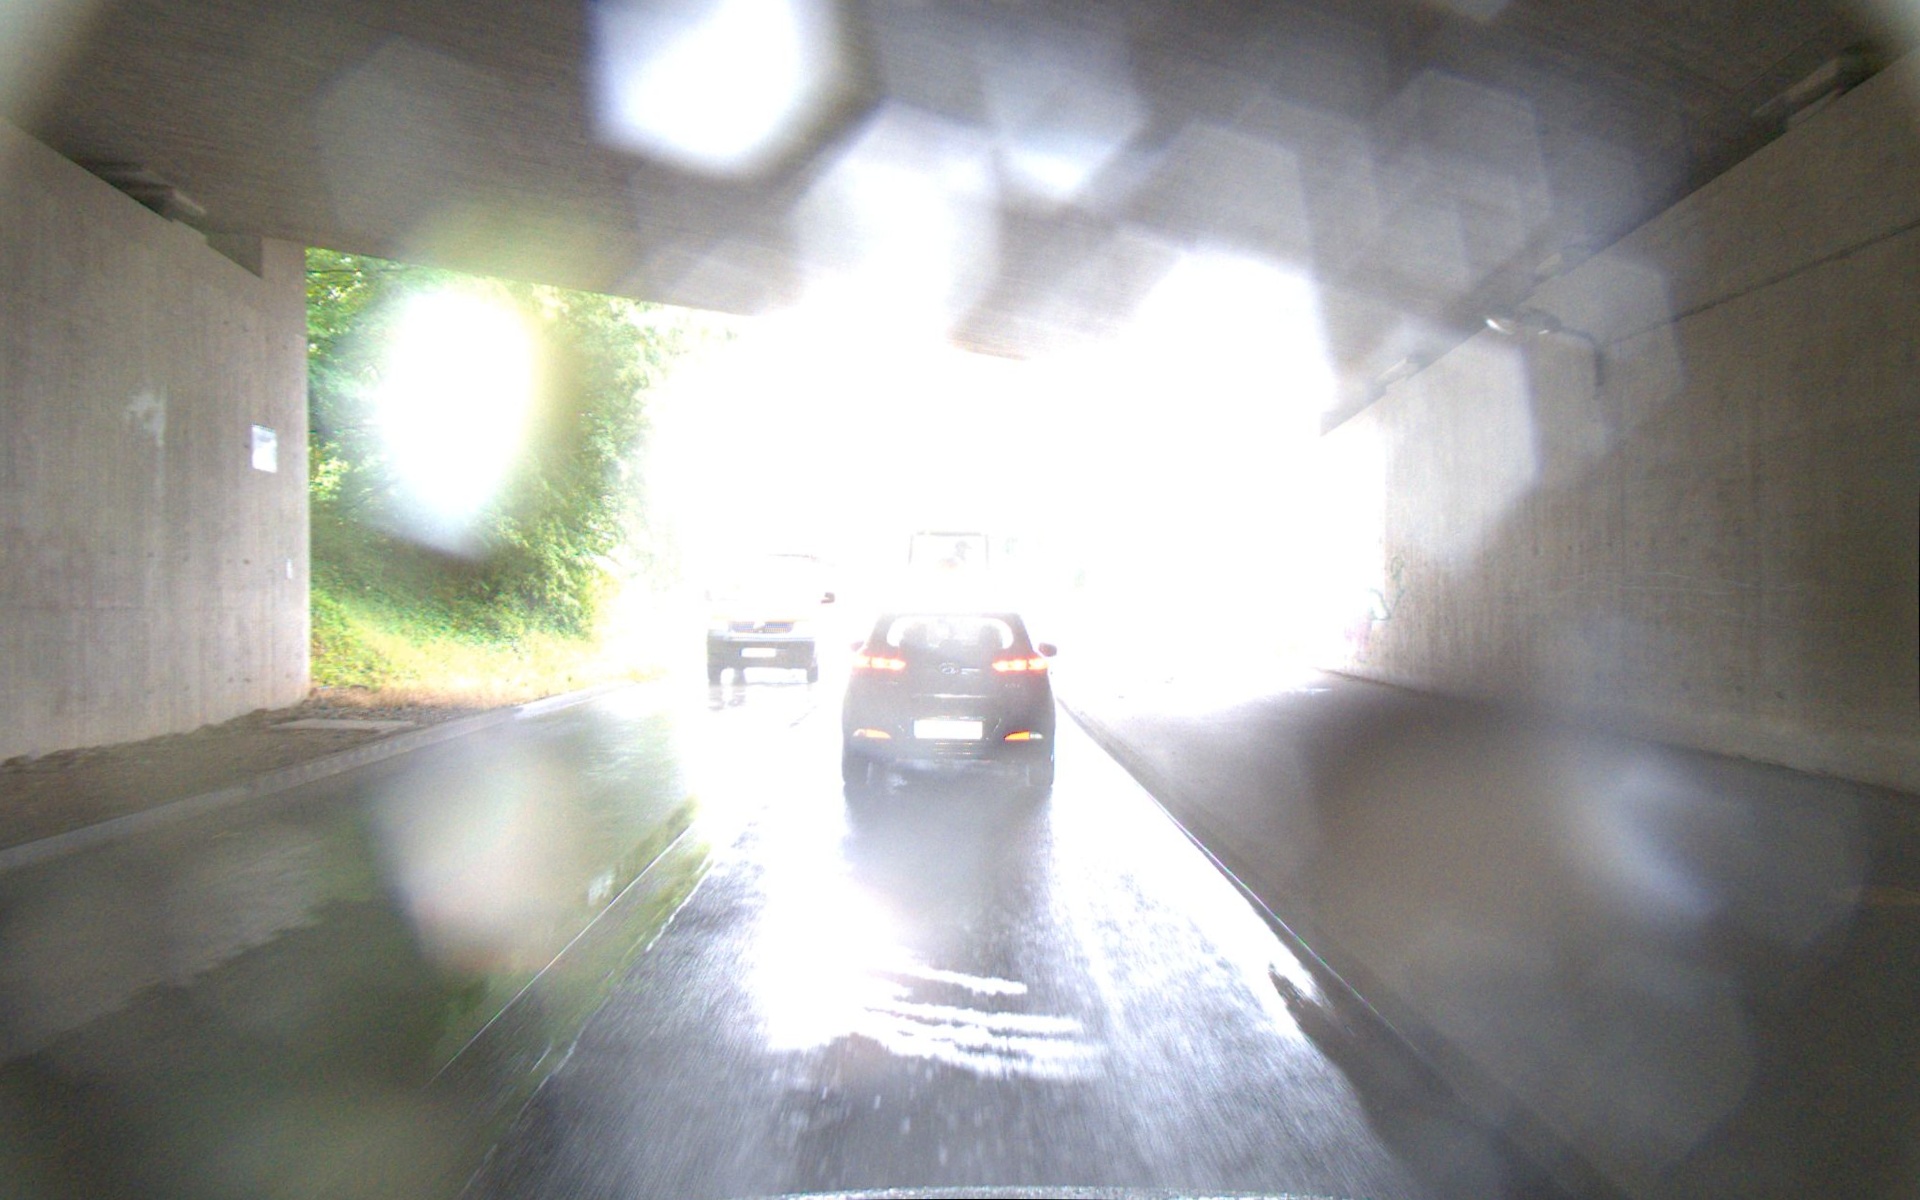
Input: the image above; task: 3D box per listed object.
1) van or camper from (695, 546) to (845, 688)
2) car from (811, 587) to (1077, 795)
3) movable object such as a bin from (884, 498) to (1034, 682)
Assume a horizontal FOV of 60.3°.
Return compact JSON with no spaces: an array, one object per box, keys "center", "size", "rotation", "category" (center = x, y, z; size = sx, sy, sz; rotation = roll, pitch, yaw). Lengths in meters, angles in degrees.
[{"center":[-3.093,0.253,27.894],"size":[1.953,2.135,4.691],"rotation":[1,0,0],"category":"van or camper"},{"center":[-0.260,0.667,14.300],"size":[1.954,1.513,3.997],"rotation":[1,0,-4],"category":"car"},{"center":[-0.124,-0.164,28.102],"size":[2.200,2.716,6.624],"rotation":[1,0,-2],"category":"movable object such as a bin"}]
